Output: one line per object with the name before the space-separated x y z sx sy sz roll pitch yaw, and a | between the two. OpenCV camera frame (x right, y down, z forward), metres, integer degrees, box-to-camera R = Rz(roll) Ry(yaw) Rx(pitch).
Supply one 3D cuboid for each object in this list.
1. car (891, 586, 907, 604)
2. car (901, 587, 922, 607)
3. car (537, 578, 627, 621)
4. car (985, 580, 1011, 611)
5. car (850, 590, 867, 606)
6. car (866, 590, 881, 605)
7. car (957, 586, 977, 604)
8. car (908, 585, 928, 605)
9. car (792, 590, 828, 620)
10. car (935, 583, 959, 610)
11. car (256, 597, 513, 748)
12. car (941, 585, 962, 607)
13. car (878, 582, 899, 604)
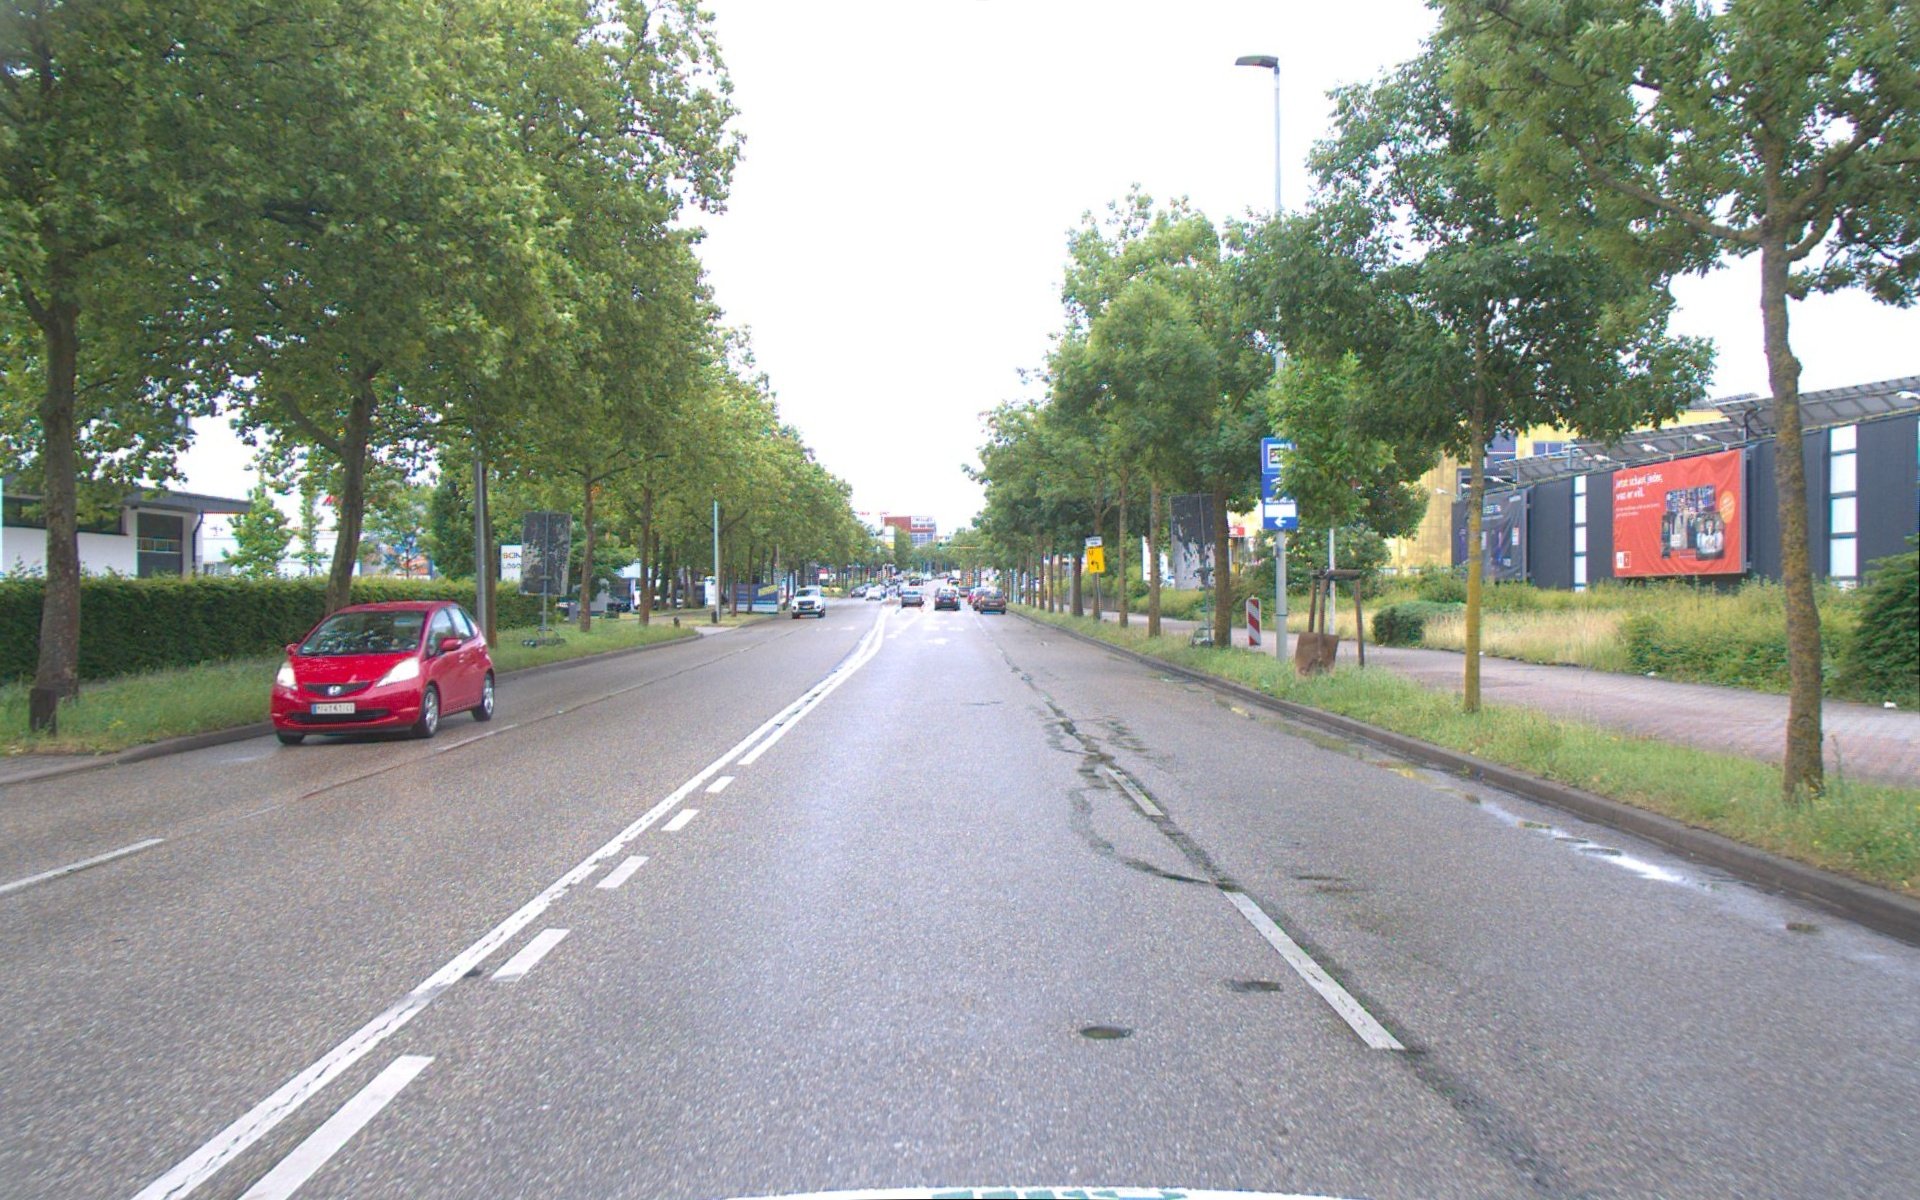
car | -7.140 -0.557 193.177 1.790 2.049 3.998 -1 0 -3
car | -4.389 -0.309 151.380 1.709 1.730 4.000 -1 0 1
car | -18.448 -0.033 80.876 3.906 1.958 1.826 -2 0 -1
car | 2.616 -0.321 114.904 1.709 2.049 4.000 -1 0 1
car | -14.025 -0.256 228.167 2.172 2.049 3.998 -1 0 -3
car | -10.394 -0.302 199.608 1.790 1.758 3.998 -1 0 -3
car | 0.681 -0.520 169.949 1.953 1.825 3.999 -1 0 -1
car | -4.217 -0.533 166.041 1.852 1.909 4.123 -1 0 -1
car | -9.124 0.288 100.584 1.669 1.767 4.001 -1 0 2
car | -1.020 -0.305 128.621 1.709 2.049 4.000 -1 0 1
car | -6.637 0.767 19.497 1.691 1.544 3.820 -1 0 -1
car | -0.697 -0.356 142.145 1.709 1.767 4.000 -1 0 1
car | -7.080 -0.697 164.276 1.953 2.049 3.999 -1 0 -1
